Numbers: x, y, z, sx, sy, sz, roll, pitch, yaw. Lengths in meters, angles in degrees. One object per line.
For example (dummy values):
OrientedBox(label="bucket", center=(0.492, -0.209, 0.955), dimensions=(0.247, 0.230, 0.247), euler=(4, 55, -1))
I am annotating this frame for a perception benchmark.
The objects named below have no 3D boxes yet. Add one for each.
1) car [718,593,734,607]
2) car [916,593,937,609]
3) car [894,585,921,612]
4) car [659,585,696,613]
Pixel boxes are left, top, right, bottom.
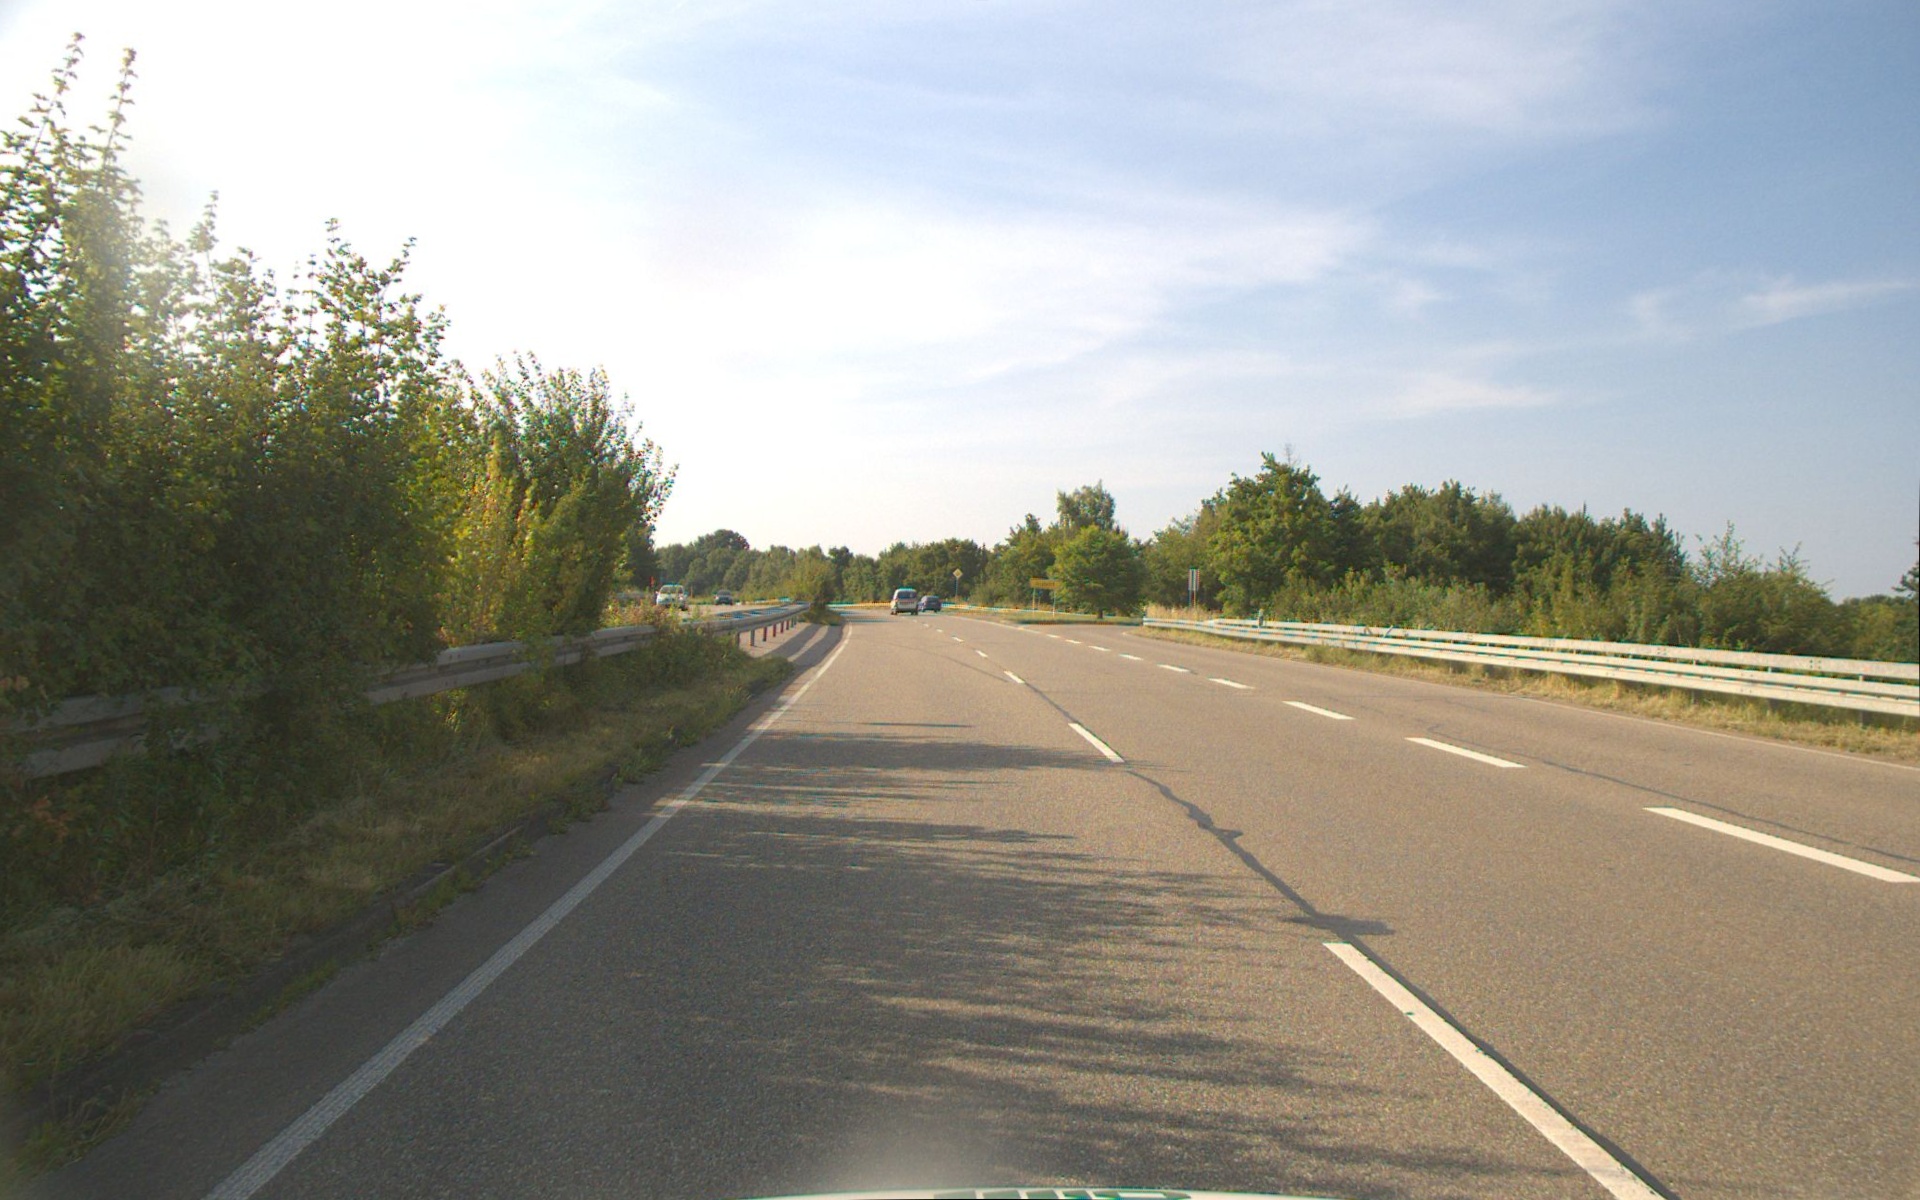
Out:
OrientedBox(label="car", center=(-22.650, -0.022, 160.253), dimensions=(1.460, 1.321, 3.263), euler=(1, -1, -6))
OrientedBox(label="car", center=(-3.119, 0.101, 153.632), dimensions=(1.744, 1.477, 3.996), euler=(0, -1, -4))
OrientedBox(label="car", center=(-3.752, -0.090, 117.075), dimensions=(1.731, 1.915, 3.996), euler=(1, -1, -4))
OrientedBox(label="car", center=(-16.274, -0.037, 95.296), dimensions=(1.607, 1.446, 3.997), euler=(1, -2, -3))
